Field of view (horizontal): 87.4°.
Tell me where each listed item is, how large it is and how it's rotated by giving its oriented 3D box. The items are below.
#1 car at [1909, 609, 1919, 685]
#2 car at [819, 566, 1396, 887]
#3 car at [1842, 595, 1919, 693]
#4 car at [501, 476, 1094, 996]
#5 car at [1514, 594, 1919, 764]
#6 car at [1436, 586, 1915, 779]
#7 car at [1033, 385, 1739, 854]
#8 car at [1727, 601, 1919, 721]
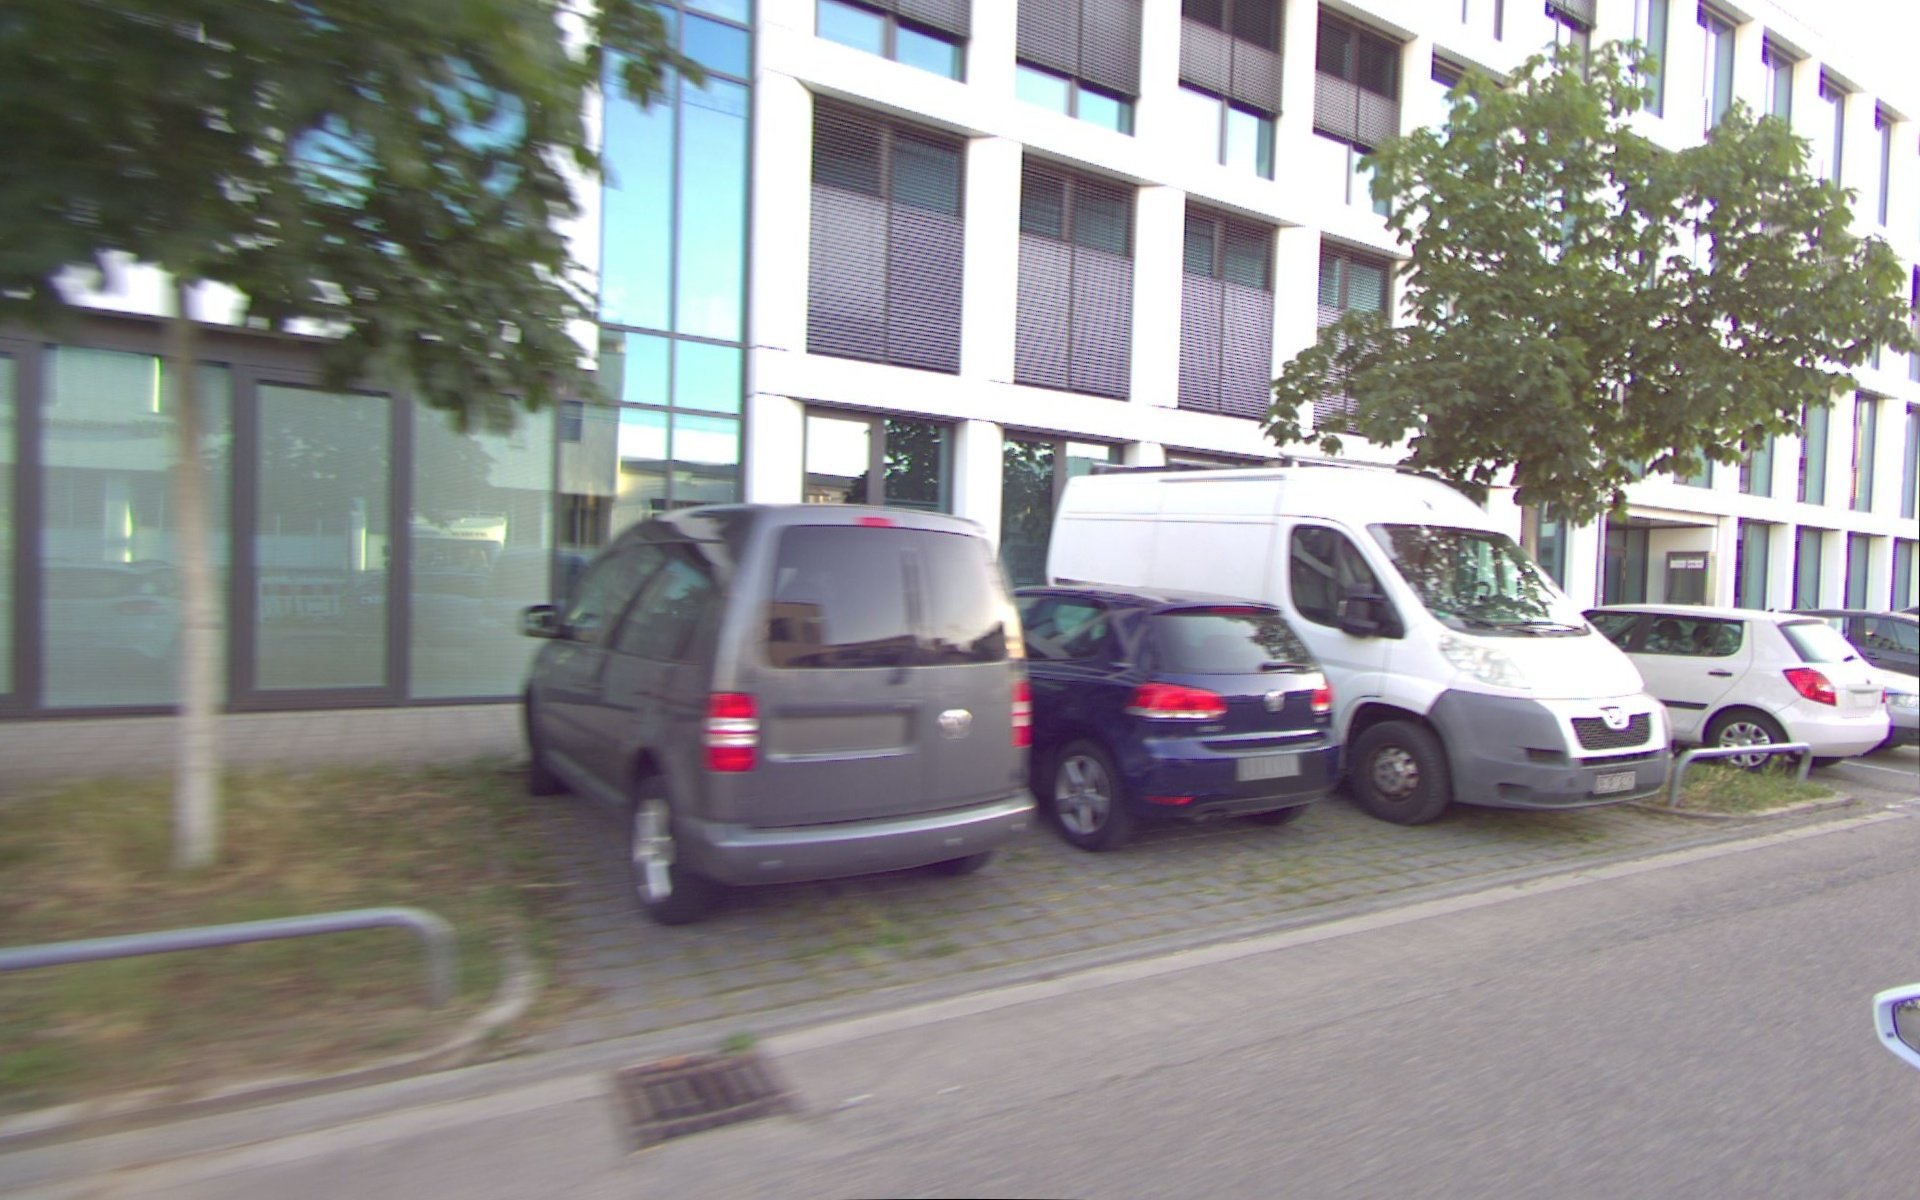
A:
[{"bbox_3d":[20.894,1.030,19.177,1.674,1.532,3.653,1,2,-26],"label":"car"},{"bbox_3d":[0.699,0.576,7.148,1.756,1.520,4.082,0,2,-34],"label":"car"},{"bbox_3d":[18.798,0.880,17.574,1.978,1.729,4.602,1,2,-26],"label":"car"},{"bbox_3d":[-1.290,0.402,5.744,1.797,1.841,4.082,0,2,-34],"label":"car"},{"bbox_3d":[9.325,0.786,12.138,1.772,1.516,4.289,1,2,-28],"label":"car"},{"bbox_3d":[7.220,0.686,10.529,1.687,1.516,3.689,1,2,-30],"label":"car"},{"bbox_3d":[2.969,0.019,8.565,2.053,2.668,5.357,1,2,-29],"label":"car"},{"bbox_3d":[13.649,0.873,14.463,1.674,1.543,3.760,1,2,-32],"label":"car"}]
